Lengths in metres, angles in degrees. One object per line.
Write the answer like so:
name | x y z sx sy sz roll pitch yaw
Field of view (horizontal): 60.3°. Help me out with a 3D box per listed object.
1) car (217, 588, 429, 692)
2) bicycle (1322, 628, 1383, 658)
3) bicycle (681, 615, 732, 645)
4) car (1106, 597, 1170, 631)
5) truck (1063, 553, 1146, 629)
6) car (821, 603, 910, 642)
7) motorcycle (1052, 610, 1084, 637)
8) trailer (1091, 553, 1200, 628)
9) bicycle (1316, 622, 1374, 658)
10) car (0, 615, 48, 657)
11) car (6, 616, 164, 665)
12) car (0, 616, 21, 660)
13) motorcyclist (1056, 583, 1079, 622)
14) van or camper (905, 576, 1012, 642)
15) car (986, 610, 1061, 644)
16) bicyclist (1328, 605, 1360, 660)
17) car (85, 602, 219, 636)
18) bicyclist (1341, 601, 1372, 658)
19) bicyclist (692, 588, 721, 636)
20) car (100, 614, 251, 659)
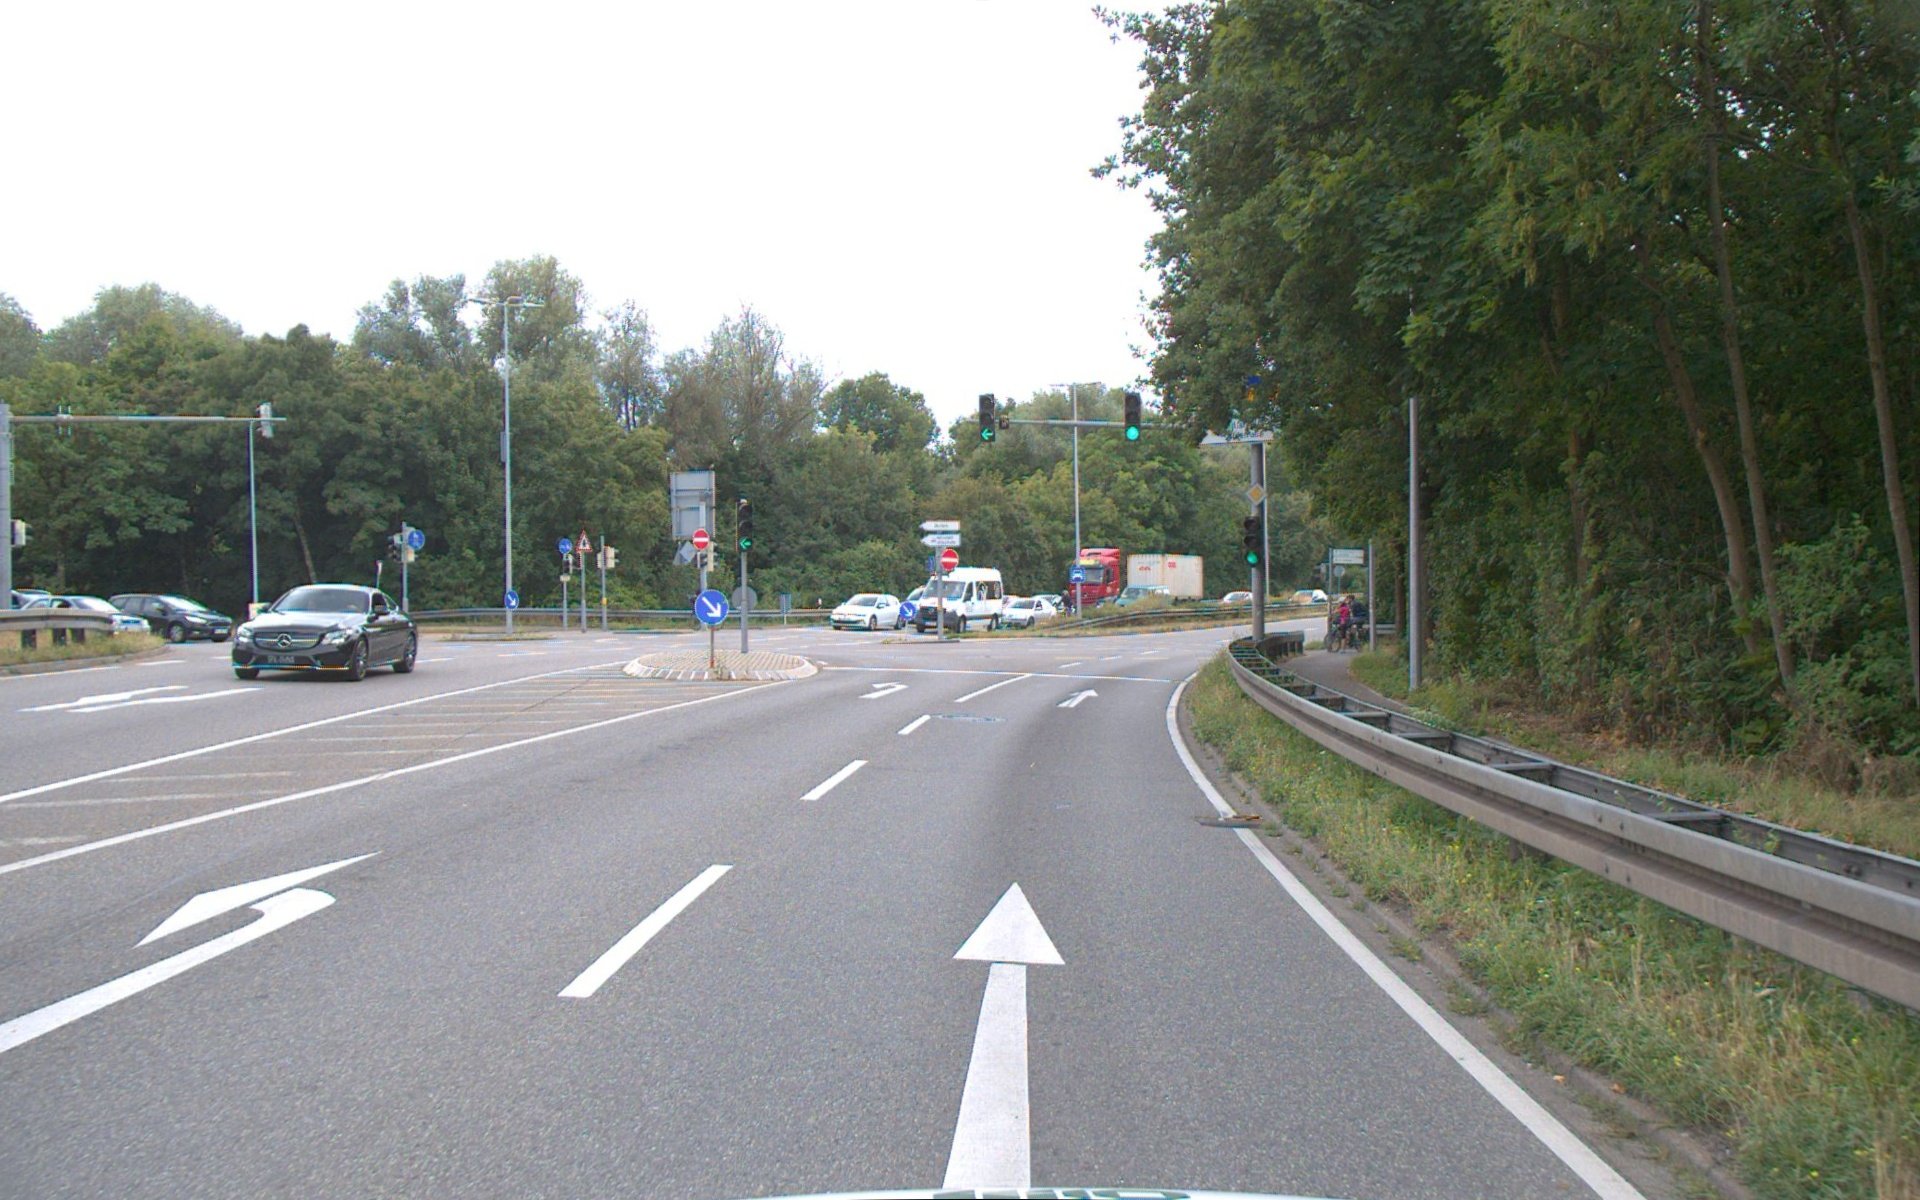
car | -9.837 0.586 25.950 1.955 1.481 4.647 0 0 -6
bicycle | 13.121 1.433 55.308 1.930 0.957 0.661 -2 -1 16
bicycle | -9.595 1.135 62.590 1.902 1.071 0.707 -3 -2 30
car | 9.658 0.764 89.477 1.769 1.759 4.955 0 0 27
truck | 8.164 -0.460 92.993 2.520 4.155 5.612 0 -1 30
car | -3.848 0.914 68.223 1.953 1.574 4.538 0 0 21
motorcycle | 5.150 1.098 78.798 0.783 1.246 2.326 0 0 23
trailer | 11.165 -0.468 98.311 2.487 4.220 10.751 0 -1 29
bicycle | 12.559 1.313 53.969 1.711 1.158 0.629 -2 -1 33
car | -32.643 1.158 54.608 4.465 1.333 2.000 0 0 20
car | -24.900 1.121 47.092 3.715 1.333 2.000 0 0 20
car | -31.168 1.143 50.570 4.234 1.333 2.000 0 0 20
motorcyclist | 5.127 0.140 78.995 0.848 1.855 0.925 0 -1 24
van or camper | 0.031 0.382 69.028 2.116 2.634 6.494 0 0 23
car | 2.936 1.207 75.239 1.953 1.524 4.398 0 0 24
bicyclist | 12.540 1.053 54.016 0.835 1.762 0.635 -1 -1 33
car | -30.505 0.720 62.556 4.133 1.226 1.995 0 0 -10
bicyclist | 13.263 0.980 55.298 0.928 1.876 0.665 -2 -1 15
bicyclist | -9.597 0.460 62.630 0.729 1.765 0.799 -2 -2 30
car | -24.209 1.102 51.070 3.974 1.333 2.000 0 0 20
